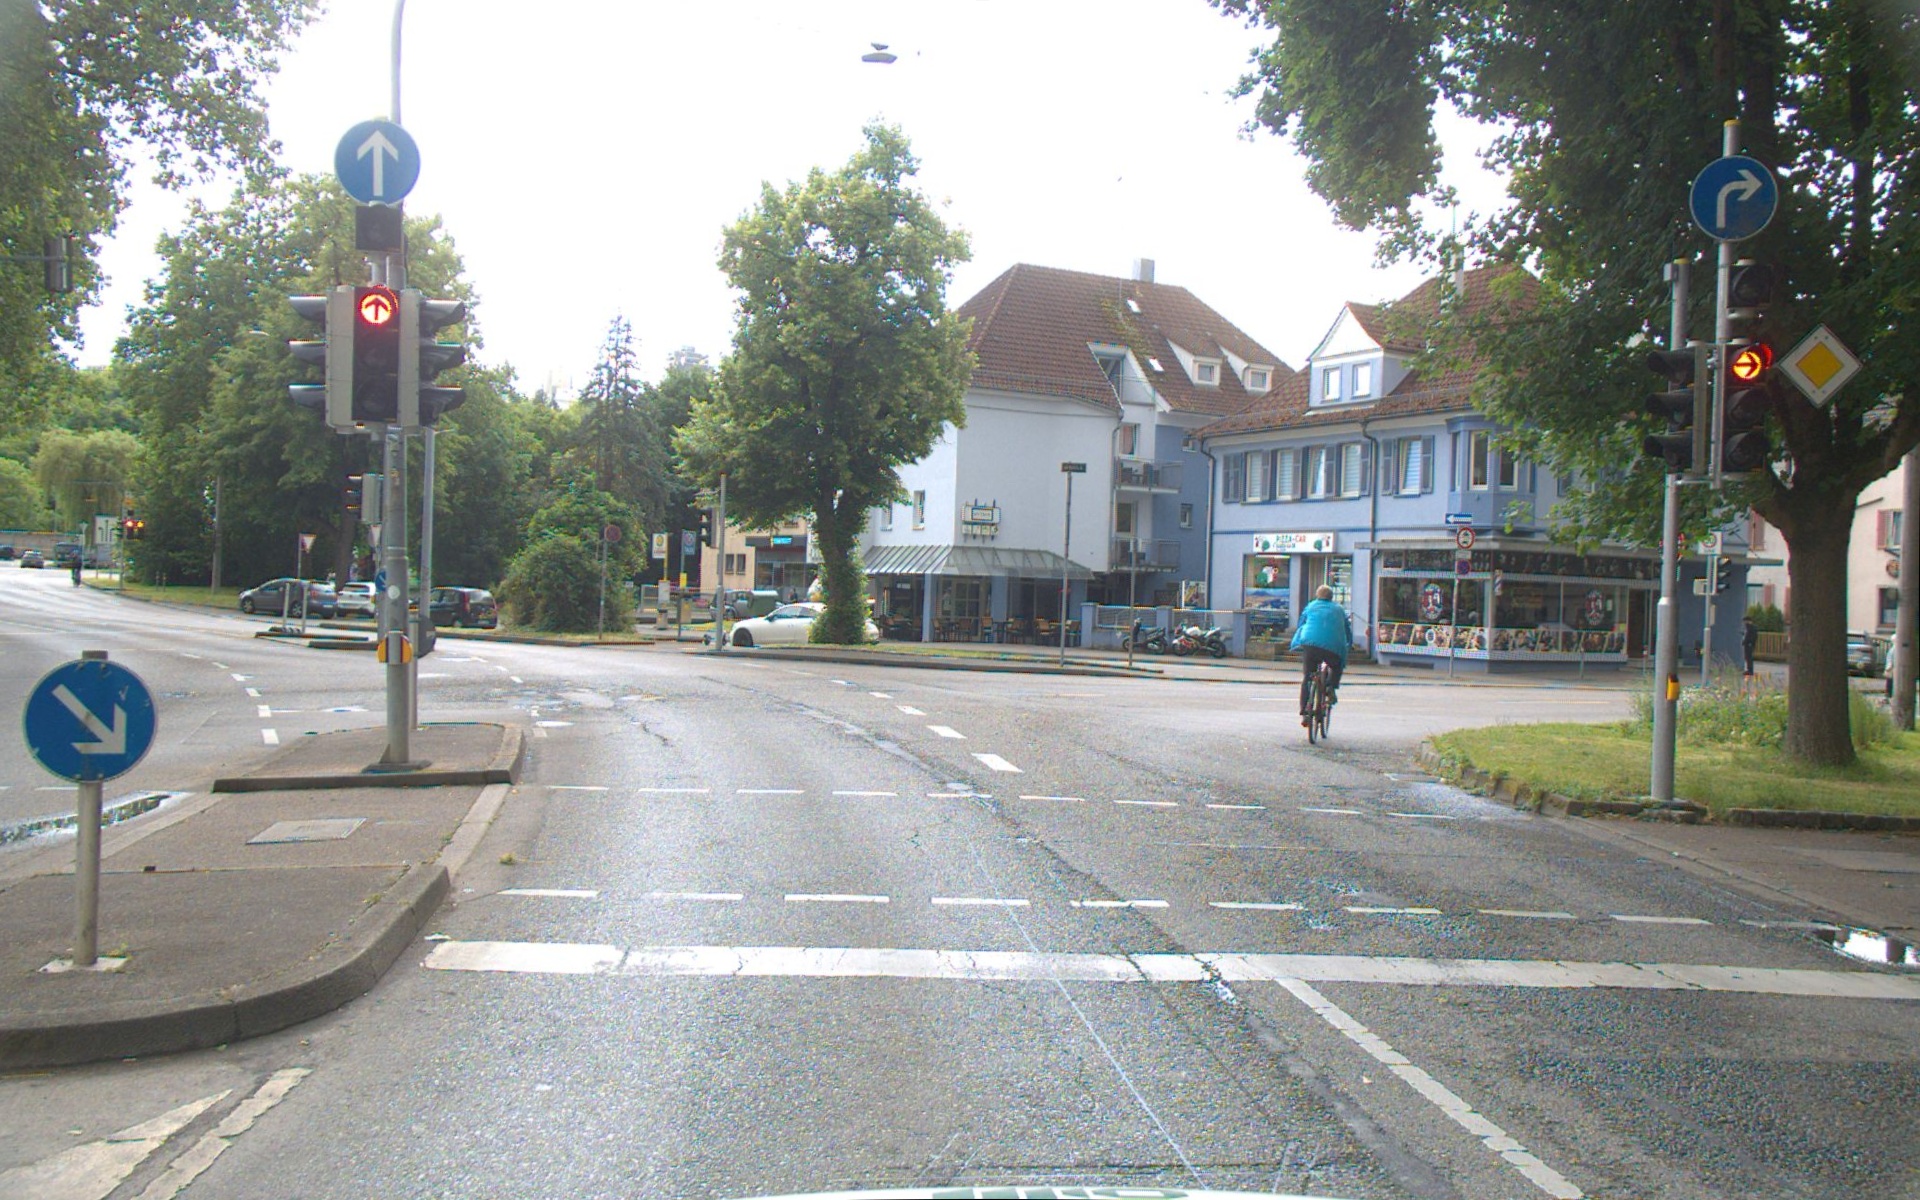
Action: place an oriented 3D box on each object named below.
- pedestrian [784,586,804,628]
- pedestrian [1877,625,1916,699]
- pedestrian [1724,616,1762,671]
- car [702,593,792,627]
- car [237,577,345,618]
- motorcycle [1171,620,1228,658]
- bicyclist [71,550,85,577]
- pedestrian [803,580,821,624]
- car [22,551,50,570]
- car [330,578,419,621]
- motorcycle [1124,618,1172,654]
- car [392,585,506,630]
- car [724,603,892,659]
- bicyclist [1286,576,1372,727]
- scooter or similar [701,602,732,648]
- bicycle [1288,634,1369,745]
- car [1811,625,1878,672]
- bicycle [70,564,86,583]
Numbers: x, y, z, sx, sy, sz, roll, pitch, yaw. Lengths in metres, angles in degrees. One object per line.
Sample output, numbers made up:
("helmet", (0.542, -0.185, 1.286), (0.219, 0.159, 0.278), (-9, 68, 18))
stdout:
("pedestrian", (-8.286, 0.352, 82.481), (0.824, 2.049, 1.051), (1, 0, -16))
("pedestrian", (20.582, 1.359, 36.365), (0.717, 1.587, 0.767), (1, -1, 29))
("pedestrian", (23.046, 1.277, 48.679), (0.660, 1.587, 0.743), (1, -1, -16))
("car", (-9.912, 0.462, 76.984), (3.881, 1.467, 1.741), (1, 0, -22))
("car", (-26.139, -0.103, 64.642), (3.694, 1.491, 1.622), (1, 0, 17))
("motorcycle", (7.283, 1.179, 50.265), (1.595, 1.107, 0.626), (1, 0, 31))
("bicyclist", (-44.500, -1.849, 83.448), (0.534, 1.365, 0.706), (1, 0, -32))
("pedestrian", (-5.441, 0.067, 60.715), (0.531, 1.587, 0.468), (1, -1, 12))
("car", (-86.208, -3.644, 154.256), (1.975, 1.624, 3.954), (1, -1, -33))
("car", (-23.913, -0.003, 67.663), (1.821, 1.668, 3.757), (1, 0, 9))
("motorcycle", (5.901, 1.120, 51.991), (1.429, 1.107, 0.522), (1, 0, 34))
("car", (-16.877, 0.237, 54.645), (3.251, 1.376, 1.779), (1, 0, 26))
("car", (-4.370, 0.853, 47.285), (4.617, 1.435, 1.897), (1, 0, 34))
("bicyclist", (4.251, 0.576, 19.100), (0.895, 1.680, 0.989), (1, 0, 10))
("scooter or similar", (-6.486, 0.668, 44.073), (0.433, 1.195, 1.439), (1, 0, 7))
("bicycle", (4.264, 1.008, 19.247), (0.855, 1.169, 1.954), (1, 0, 11))
("car", (28.760, 1.549, 53.870), (1.848, 1.415, 3.609), (1, 0, 28))
("bicycle", (-44.509, -1.333, 83.460), (0.551, 0.975, 2.011), (1, 0, -32))
